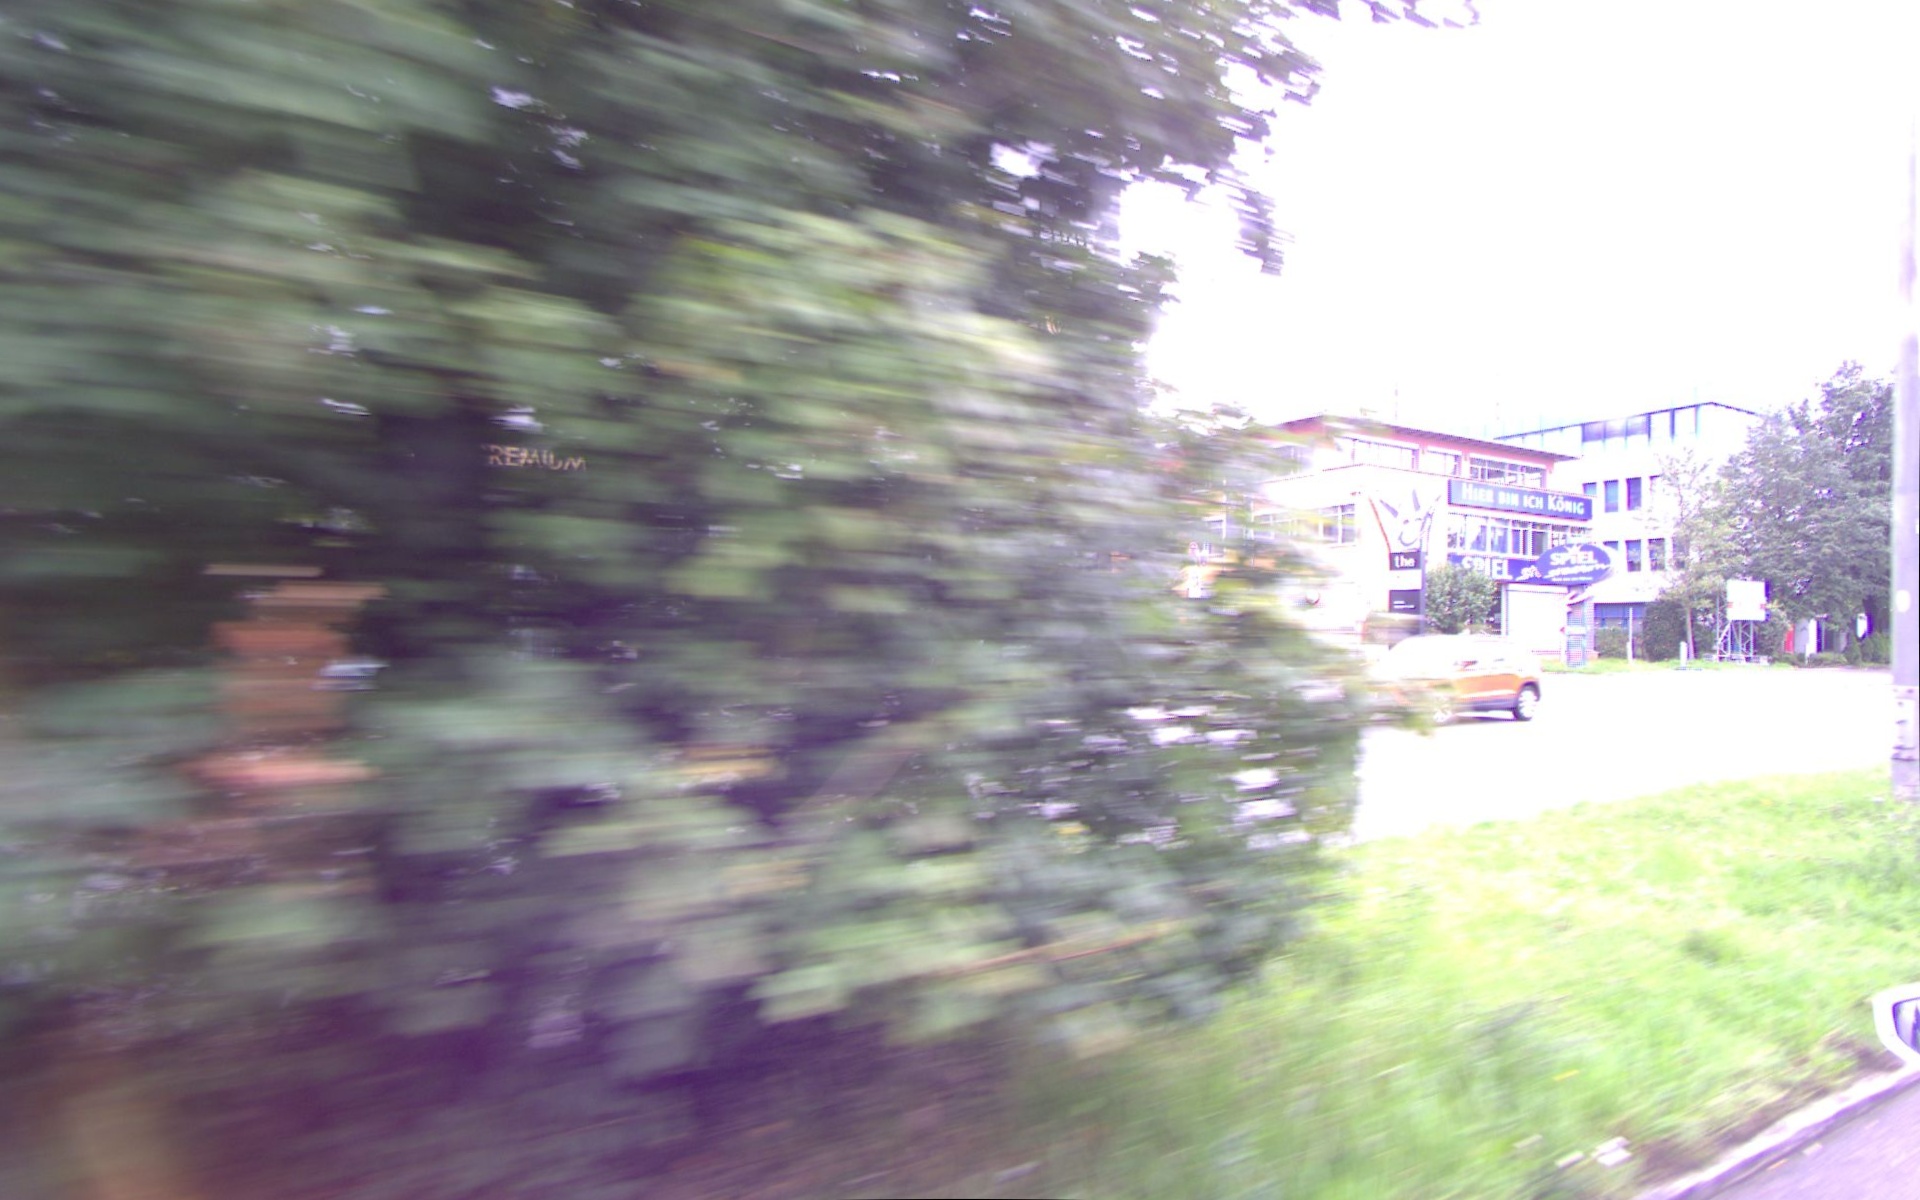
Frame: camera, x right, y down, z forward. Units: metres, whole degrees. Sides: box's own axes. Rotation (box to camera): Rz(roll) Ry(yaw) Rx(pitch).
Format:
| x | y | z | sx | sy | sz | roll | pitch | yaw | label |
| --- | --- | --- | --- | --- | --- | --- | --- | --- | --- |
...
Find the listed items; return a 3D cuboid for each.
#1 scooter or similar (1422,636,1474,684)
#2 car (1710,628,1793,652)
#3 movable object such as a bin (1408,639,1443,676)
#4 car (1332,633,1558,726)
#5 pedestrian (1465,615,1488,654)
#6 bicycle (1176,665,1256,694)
| x | y | z | sx | sy | sz | roll | pitch | yaw | label |
| --- | --- | --- | --- | --- | --- | --- | --- | --- | --- |
| 13.987 | 1.716 | 28.800 | 1.387 | 1.295 | 0.583 | 1 | 3 | -29 | scooter or similar |
| 52.912 | 2.668 | 67.262 | 1.837 | 1.437 | 4.167 | 1 | -1 | -12 | car |
| 14.371 | 1.769 | 30.998 | 0.647 | 1.092 | 0.734 | 1 | 0 | -29 | movable object such as a bin |
| 9.106 | 1.434 | 18.803 | 4.253 | 1.568 | 1.728 | 2 | -3 | -30 | car |
| 22.956 | 1.531 | 44.673 | 0.655 | 1.735 | 0.654 | 1 | 0 | -33 | pedestrian |
| 5.758 | 1.777 | 22.554 | 1.712 | 0.556 | 0.716 | 2 | 2 | -30 | bicycle |
